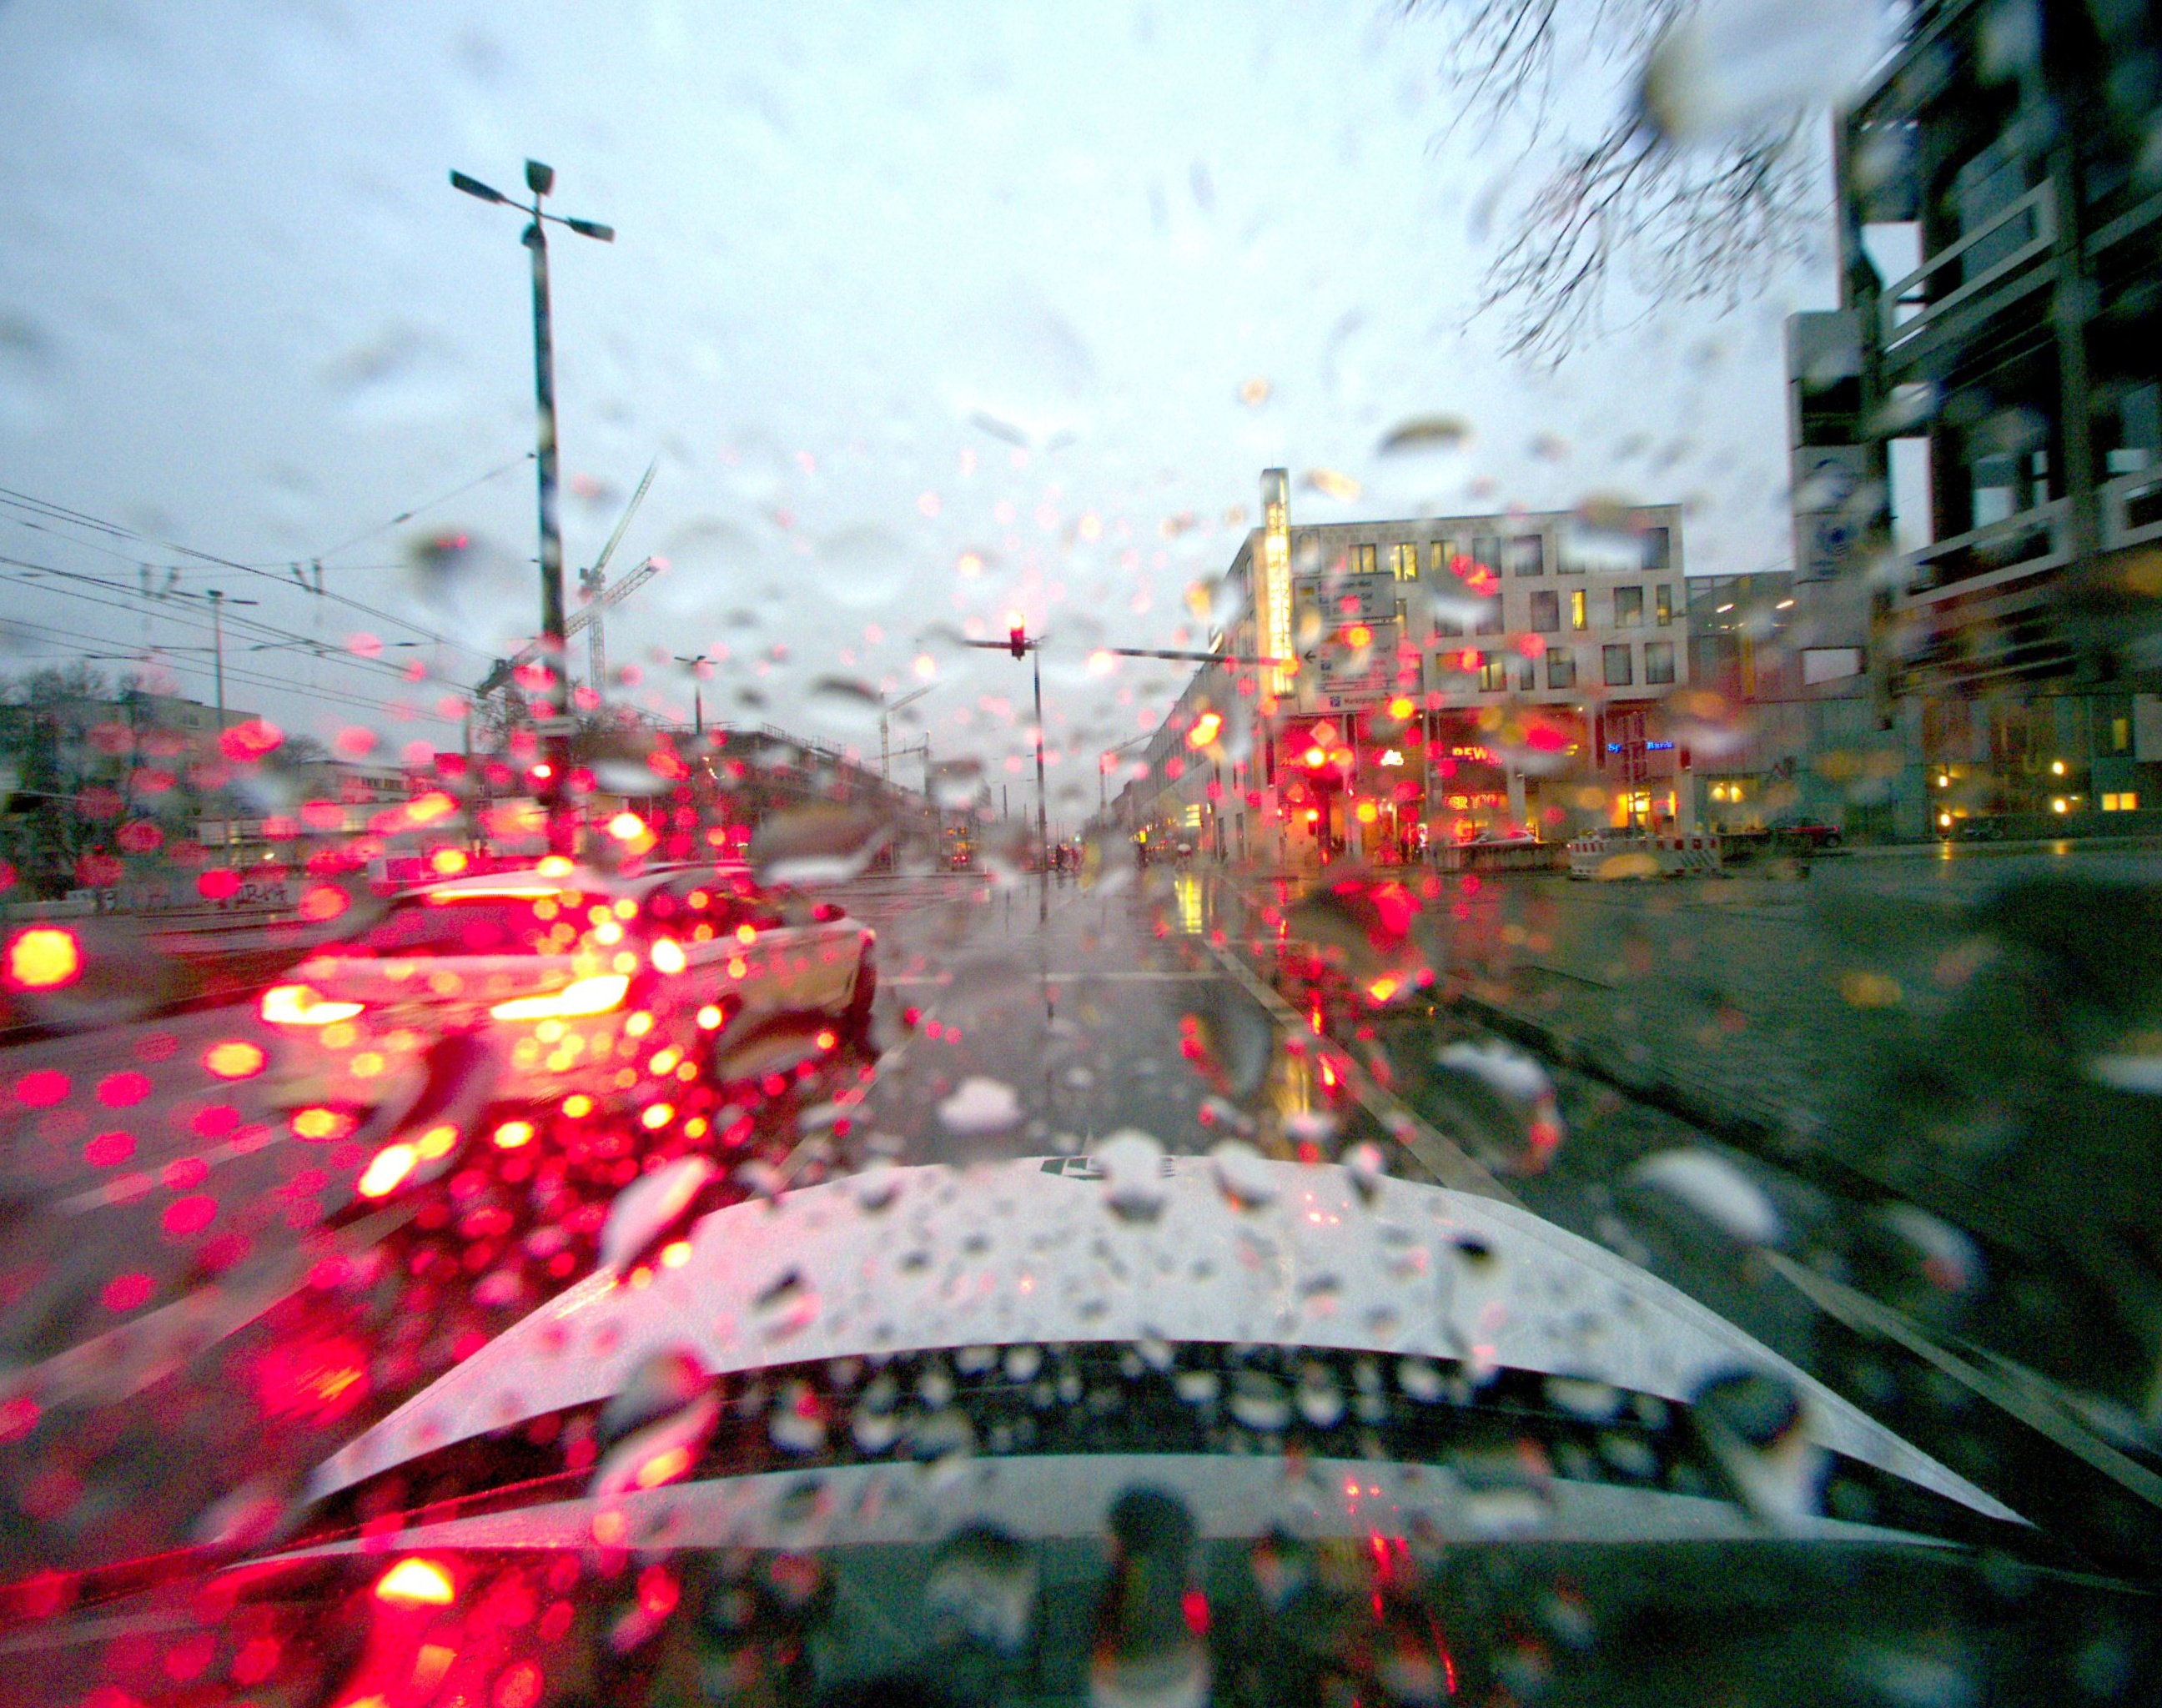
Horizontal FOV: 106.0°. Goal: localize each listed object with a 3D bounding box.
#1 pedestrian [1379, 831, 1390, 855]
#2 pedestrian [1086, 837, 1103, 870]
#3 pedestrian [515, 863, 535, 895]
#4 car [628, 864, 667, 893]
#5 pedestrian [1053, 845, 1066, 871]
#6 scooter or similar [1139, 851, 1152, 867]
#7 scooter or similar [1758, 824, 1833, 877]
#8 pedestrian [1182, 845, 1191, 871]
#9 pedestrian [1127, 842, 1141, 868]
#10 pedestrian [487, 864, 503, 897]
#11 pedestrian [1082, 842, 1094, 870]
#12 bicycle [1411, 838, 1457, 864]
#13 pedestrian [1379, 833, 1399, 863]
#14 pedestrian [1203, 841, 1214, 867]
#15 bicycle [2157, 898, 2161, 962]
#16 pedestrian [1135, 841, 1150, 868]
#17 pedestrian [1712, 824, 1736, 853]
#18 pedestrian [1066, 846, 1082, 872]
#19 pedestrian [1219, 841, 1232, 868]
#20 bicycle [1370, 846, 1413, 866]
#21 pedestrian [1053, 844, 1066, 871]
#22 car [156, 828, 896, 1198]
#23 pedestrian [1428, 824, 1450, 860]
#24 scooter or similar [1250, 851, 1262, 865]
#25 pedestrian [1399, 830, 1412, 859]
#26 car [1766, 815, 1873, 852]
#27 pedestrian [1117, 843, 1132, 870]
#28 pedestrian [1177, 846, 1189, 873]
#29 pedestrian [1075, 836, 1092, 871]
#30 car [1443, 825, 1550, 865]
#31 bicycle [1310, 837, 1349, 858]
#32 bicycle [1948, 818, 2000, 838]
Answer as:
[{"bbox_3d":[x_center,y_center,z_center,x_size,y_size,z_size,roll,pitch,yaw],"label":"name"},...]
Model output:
[{"bbox_3d":[21.670,-0.784,58.069,0.530,1.717,0.505,-2,0,40],"label":"pedestrian"},{"bbox_3d":[0.839,-0.043,50.463,0.781,2.013,0.606,-2,0,-36],"label":"pedestrian"},{"bbox_3d":[-35.827,1.604,52.466,0.791,2.014,0.745,-2,-3,-8],"label":"pedestrian"},{"bbox_3d":[-32.985,1.808,62.027,1.759,2.013,3.978,-2,0,-16],"label":"car"},{"bbox_3d":[-1.375,0.264,52.390,0.703,1.619,0.681,-2,0,4],"label":"pedestrian"},{"bbox_3d":[4.225,0.326,53.557,0.735,0.993,0.402,-2,0,14],"label":"scooter or similar"},{"bbox_3d":[16.158,-0.079,18.455,0.603,1.130,1.236,-2,0,3],"label":"scooter or similar"},{"bbox_3d":[7.231,0.266,55.707,0.510,1.760,0.374,-2,0,2],"label":"pedestrian"},{"bbox_3d":[3.496,0.082,53.735,0.735,1.667,0.402,-2,0,14],"label":"pedestrian"},{"bbox_3d":[-37.169,1.675,51.638,0.507,2.014,0.638,-3,-3,-8],"label":"pedestrian"},{"bbox_3d":[0.449,0.117,52.627,0.617,1.746,0.612,-2,0,-3],"label":"pedestrian"},{"bbox_3d":[15.992,-0.140,36.948,1.830,1.093,0.620,-2,0,17],"label":"bicycle"},{"bbox_3d":[16.400,-0.314,43.374,0.812,1.570,0.536,-2,0,-2],"label":"pedestrian"},{"bbox_3d":[8.649,0.003,55.414,0.615,1.760,0.482,-2,0,2],"label":"pedestrian"},{"bbox_3d":[4.377,0.652,2.443,1.746,1.148,0.435,-4,0,-3],"label":"bicycle"},{"bbox_3d":[3.983,0.043,52.953,0.841,1.688,0.676,-2,0,-4],"label":"pedestrian"},{"bbox_3d":[36.828,-0.903,46.661,0.791,1.631,0.710,-1,-1,2],"label":"pedestrian"},{"bbox_3d":[-0.422,0.331,51.135,0.808,1.619,0.542,-2,0,40],"label":"pedestrian"},{"bbox_3d":[9.669,0.057,54.383,0.700,1.760,0.652,-2,0,2],"label":"pedestrian"},{"bbox_3d":[16.533,0.103,43.378,2.122,0.991,0.541,-1,-1,-1],"label":"bicycle"},{"bbox_3d":[-1.330,0.213,50.924,0.704,1.619,0.613,-2,0,0],"label":"pedestrian"},{"bbox_3d":[-2.956,0.674,5.975,1.903,1.520,4.925,-2,0,1],"label":"car"},{"bbox_3d":[16.210,-0.556,36.879,0.774,1.595,0.616,-2,0,17],"label":"pedestrian"},{"bbox_3d":[12.178,0.258,56.762,0.738,0.916,0.401,-2,0,4],"label":"scooter or similar"},{"bbox_3d":[18.813,-0.540,47.215,0.530,1.685,0.552,-2,0,40],"label":"pedestrian"},{"bbox_3d":[35.278,-0.972,38.970,3.557,1.582,1.676,-3,0,0],"label":"car"},{"bbox_3d":[2.771,0.129,51.973,0.828,1.679,0.619,-2,0,0],"label":"pedestrian"},{"bbox_3d":[6.731,0.354,53.725,0.700,1.760,0.668,-2,0,2],"label":"pedestrian"},{"bbox_3d":[0.162,-0.038,49.470,0.691,2.087,0.606,-2,0,-38],"label":"pedestrian"},{"bbox_3d":[20.043,-0.432,39.415,4.282,1.761,1.709,-2,0,5],"label":"car"},{"bbox_3d":[16.886,-0.451,55.367,2.419,1.329,0.634,-2,1,-3],"label":"bicycle"},{"bbox_3d":[49.346,-1.429,45.013,0.613,1.033,2.138,-2,0,4],"label":"bicycle"}]
